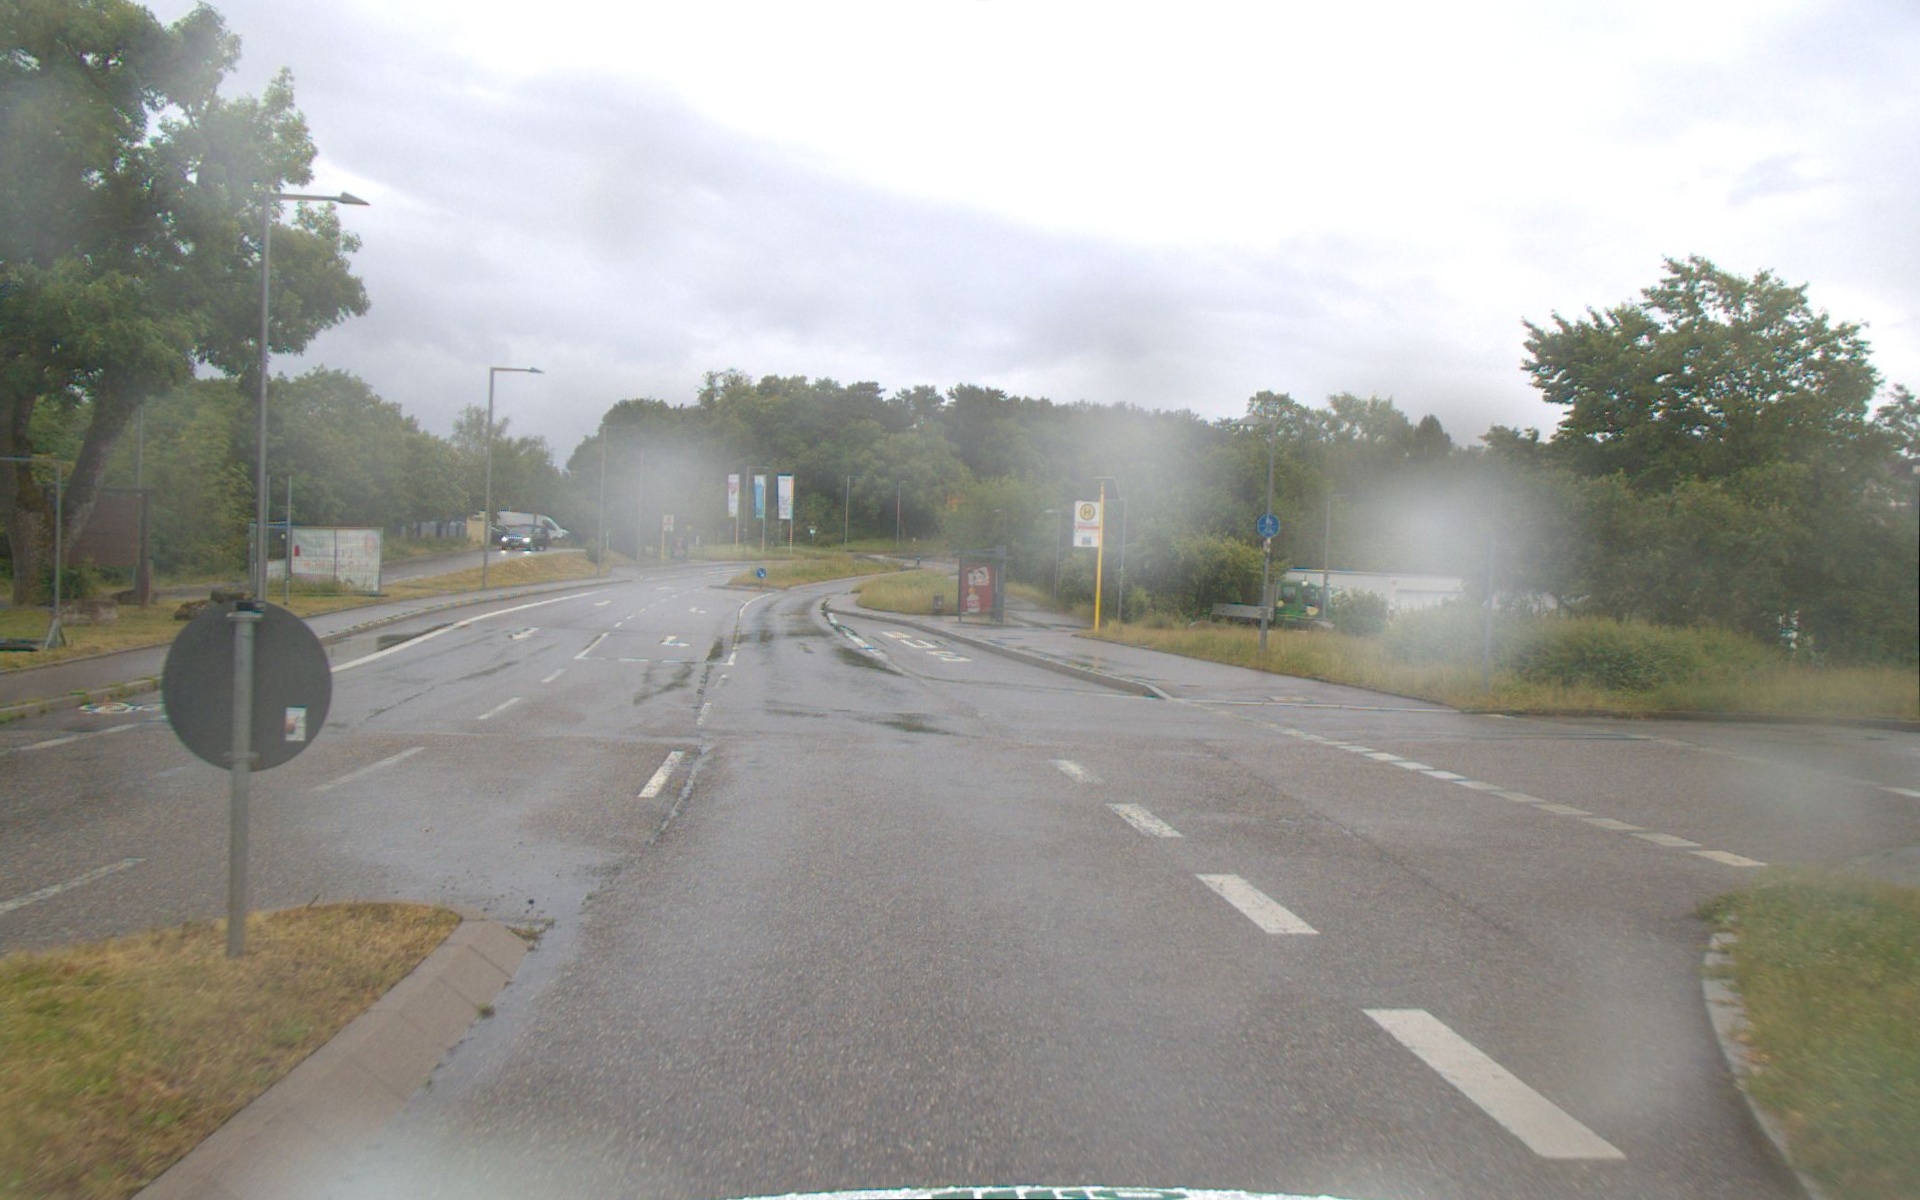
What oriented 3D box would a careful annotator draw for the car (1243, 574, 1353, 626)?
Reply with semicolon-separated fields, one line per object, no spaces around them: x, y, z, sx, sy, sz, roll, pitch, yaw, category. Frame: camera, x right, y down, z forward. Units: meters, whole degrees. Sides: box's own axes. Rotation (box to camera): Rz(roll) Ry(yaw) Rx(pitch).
12.290;0.010;60.205;3.363;1.720;1.987;0;-5;43;car

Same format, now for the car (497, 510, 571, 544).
-35.147;-6.004;136.664;5.568;2.446;1.997;2;0;-7;car

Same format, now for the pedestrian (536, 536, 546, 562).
-26.938;-3.263;106.294;0.557;1.648;0.634;2;-1;-19;pedestrian

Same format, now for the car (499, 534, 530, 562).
-28.344;-3.302;105.242;1.663;1.648;3.874;2;0;-18;car
